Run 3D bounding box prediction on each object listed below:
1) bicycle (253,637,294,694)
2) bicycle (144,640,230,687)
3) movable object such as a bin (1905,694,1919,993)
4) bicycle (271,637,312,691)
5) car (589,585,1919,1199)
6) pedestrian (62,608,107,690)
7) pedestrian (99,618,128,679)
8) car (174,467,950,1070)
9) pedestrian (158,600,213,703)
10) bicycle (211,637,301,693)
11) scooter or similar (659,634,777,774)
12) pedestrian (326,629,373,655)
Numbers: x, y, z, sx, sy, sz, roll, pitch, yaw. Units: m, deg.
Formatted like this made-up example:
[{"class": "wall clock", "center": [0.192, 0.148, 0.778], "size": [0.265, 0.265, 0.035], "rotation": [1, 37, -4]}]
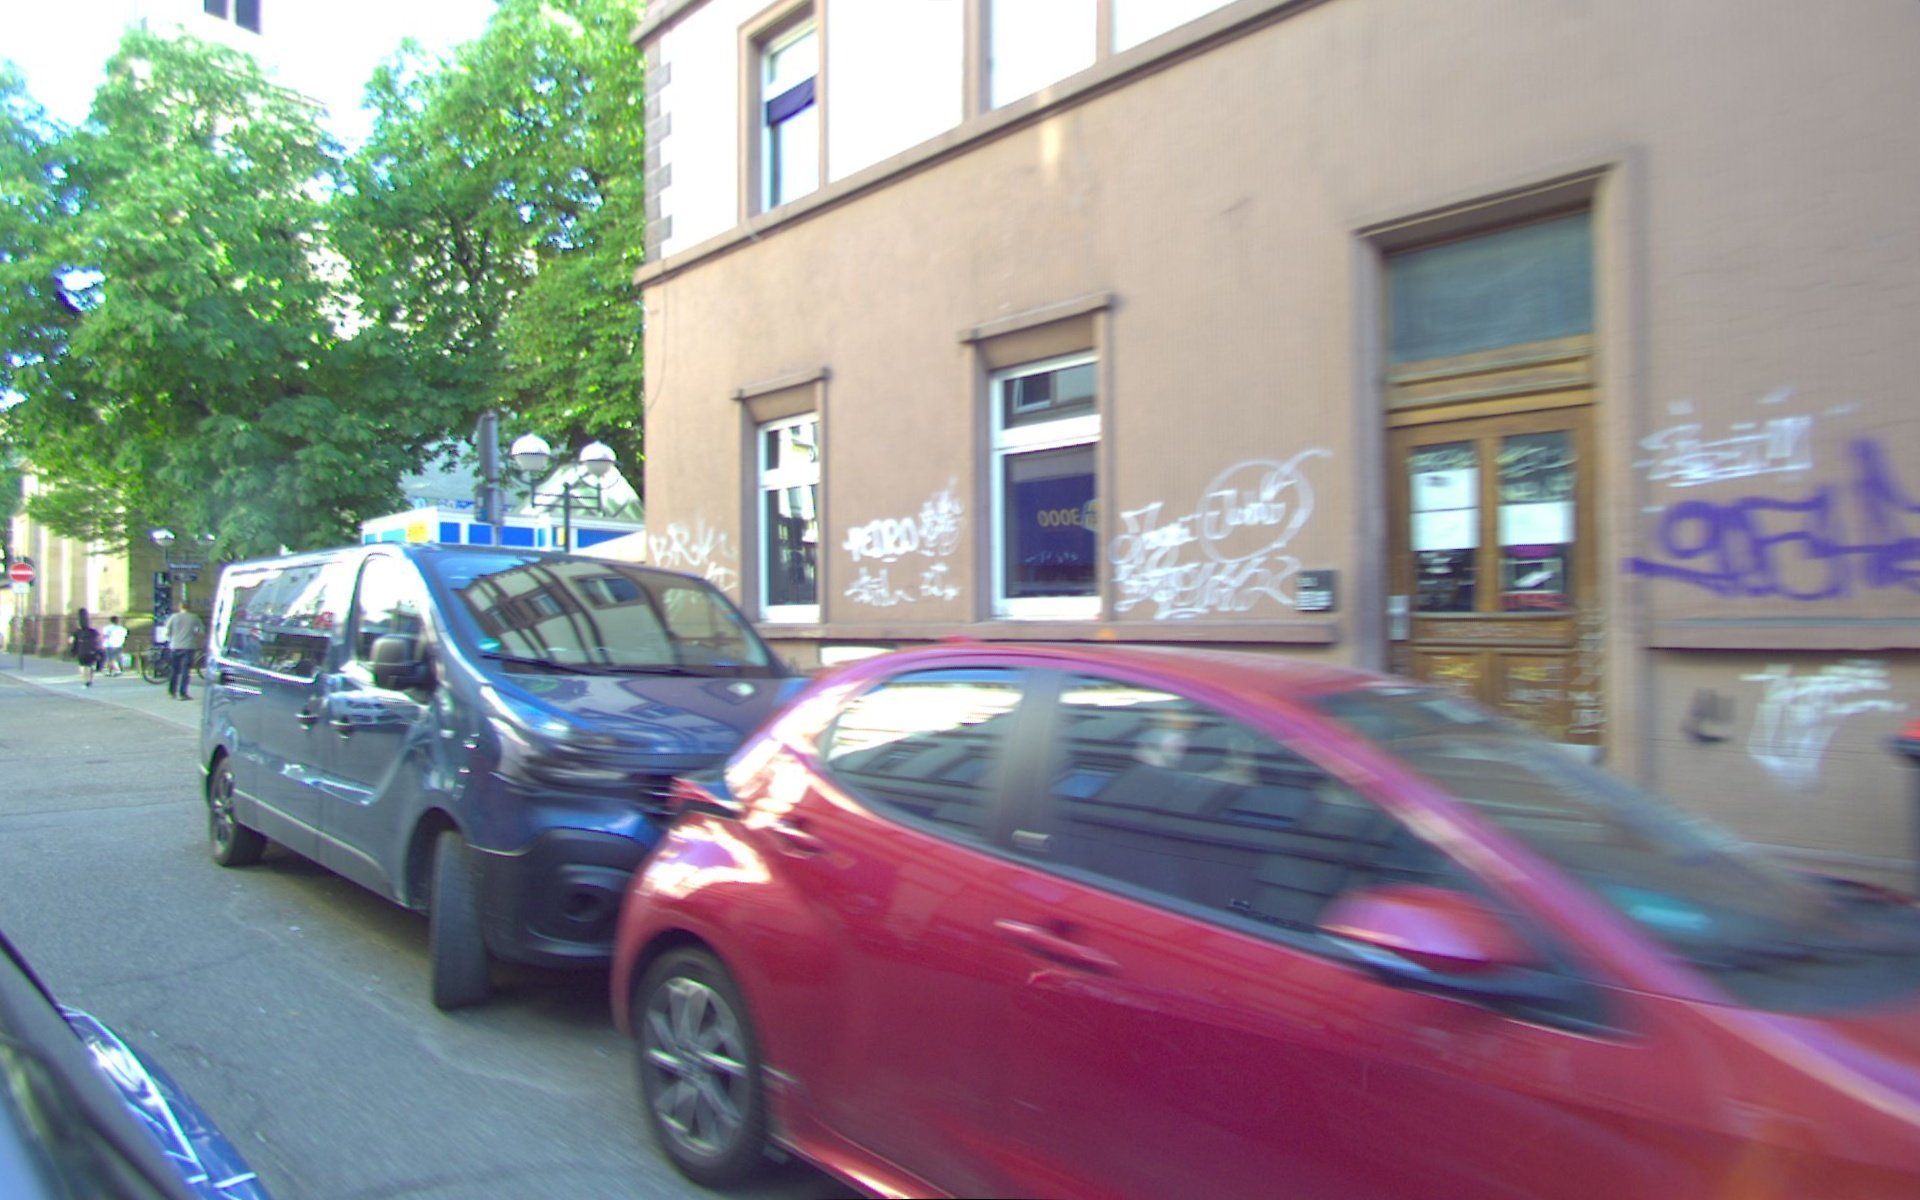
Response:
[{"class": "bicycle", "center": [-13.714, 1.286, 20.196], "size": [1.578, 1.090, 0.289], "rotation": [-3, -2, 42]}, {"class": "bicycle", "center": [-19.268, 1.572, 25.266], "size": [0.346, 1.073, 1.673], "rotation": [-1, 0, 39]}, {"class": "movable object such as a bin", "center": [3.939, 0.881, 3.584], "size": [0.748, 1.075, 0.653], "rotation": [0, 0, -29]}, {"class": "bicycle", "center": [-13.506, 1.286, 20.425], "size": [1.578, 1.054, 0.289], "rotation": [-3, -2, 42]}, {"class": "car", "center": [0.949, 0.811, 2.369], "size": [3.868, 1.533, 1.732], "rotation": [0, -4, 42]}, {"class": "pedestrian", "center": [-20.640, 1.134, 23.868], "size": [0.720, 1.887, 0.709], "rotation": [-1, 0, 41]}, {"class": "pedestrian", "center": [-22.973, 1.307, 27.472], "size": [0.714, 1.605, 0.474], "rotation": [-1, 0, 39]}, {"class": "car", "center": [-2.671, 0.580, 5.736], "size": [5.296, 1.893, 1.998], "rotation": [-2, -1, 43]}, {"class": "pedestrian", "center": [-14.384, 0.931, 18.798], "size": [0.697, 1.847, 0.640], "rotation": [-1, 1, 41]}, {"class": "bicycle", "center": [-14.998, 1.372, 21.570], "size": [1.553, 1.090, 0.347], "rotation": [0, 0, -38]}, {"class": "scooter or similar", "center": [-2.304, 0.943, 9.553], "size": [1.391, 1.226, 0.344], "rotation": [-1, -1, 41]}, {"class": "pedestrian", "center": [-19.702, 1.351, 32.654], "size": [1.406, 0.766, 0.946], "rotation": [-1, 0, 41]}]
